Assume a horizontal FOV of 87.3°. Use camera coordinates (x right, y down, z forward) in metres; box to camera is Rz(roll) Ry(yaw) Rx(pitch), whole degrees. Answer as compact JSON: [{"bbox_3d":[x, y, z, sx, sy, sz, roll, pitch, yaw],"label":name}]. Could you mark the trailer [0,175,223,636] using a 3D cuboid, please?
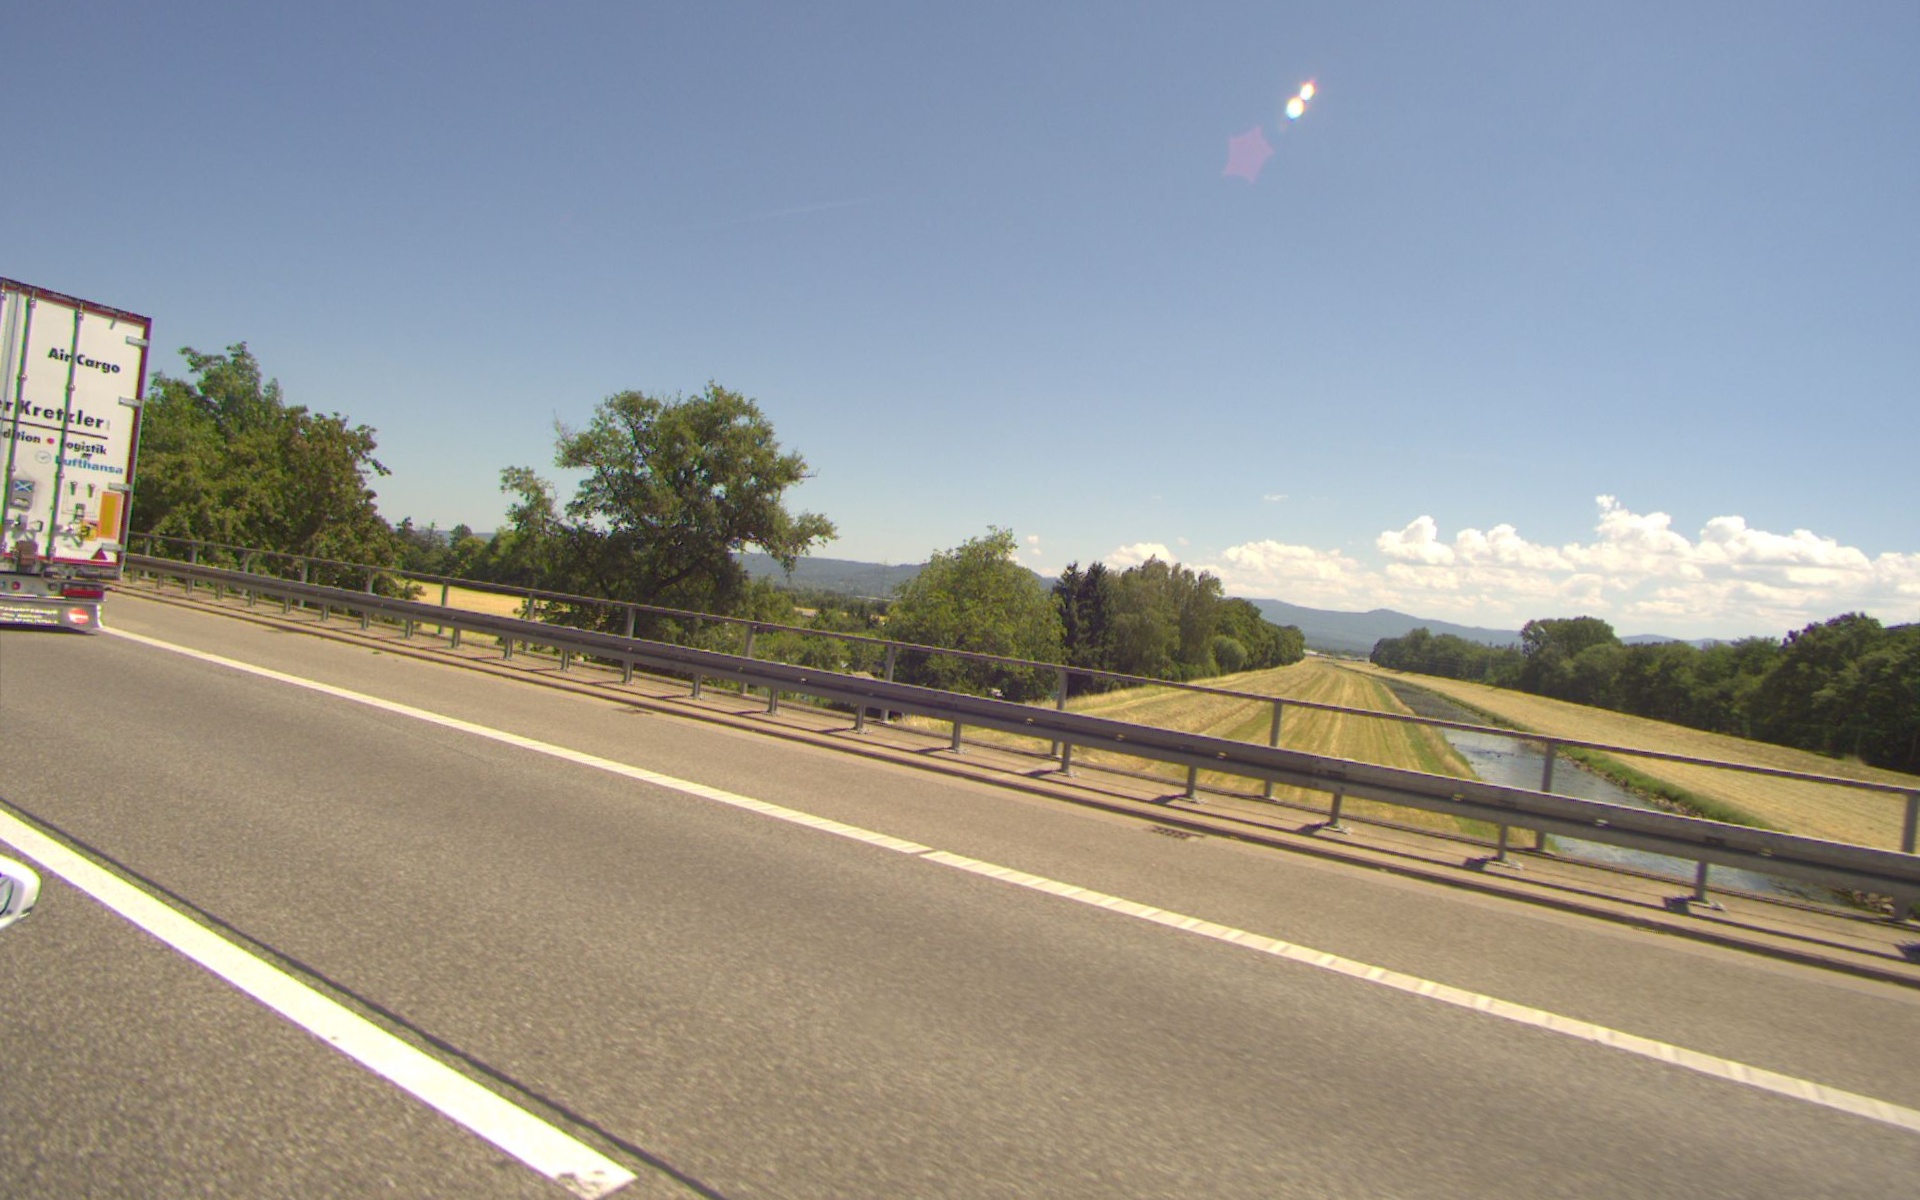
[{"bbox_3d":[-16.276,-2.821,14.939,13.796,4.895,3.275,7,-1,32],"label":"trailer"}]
